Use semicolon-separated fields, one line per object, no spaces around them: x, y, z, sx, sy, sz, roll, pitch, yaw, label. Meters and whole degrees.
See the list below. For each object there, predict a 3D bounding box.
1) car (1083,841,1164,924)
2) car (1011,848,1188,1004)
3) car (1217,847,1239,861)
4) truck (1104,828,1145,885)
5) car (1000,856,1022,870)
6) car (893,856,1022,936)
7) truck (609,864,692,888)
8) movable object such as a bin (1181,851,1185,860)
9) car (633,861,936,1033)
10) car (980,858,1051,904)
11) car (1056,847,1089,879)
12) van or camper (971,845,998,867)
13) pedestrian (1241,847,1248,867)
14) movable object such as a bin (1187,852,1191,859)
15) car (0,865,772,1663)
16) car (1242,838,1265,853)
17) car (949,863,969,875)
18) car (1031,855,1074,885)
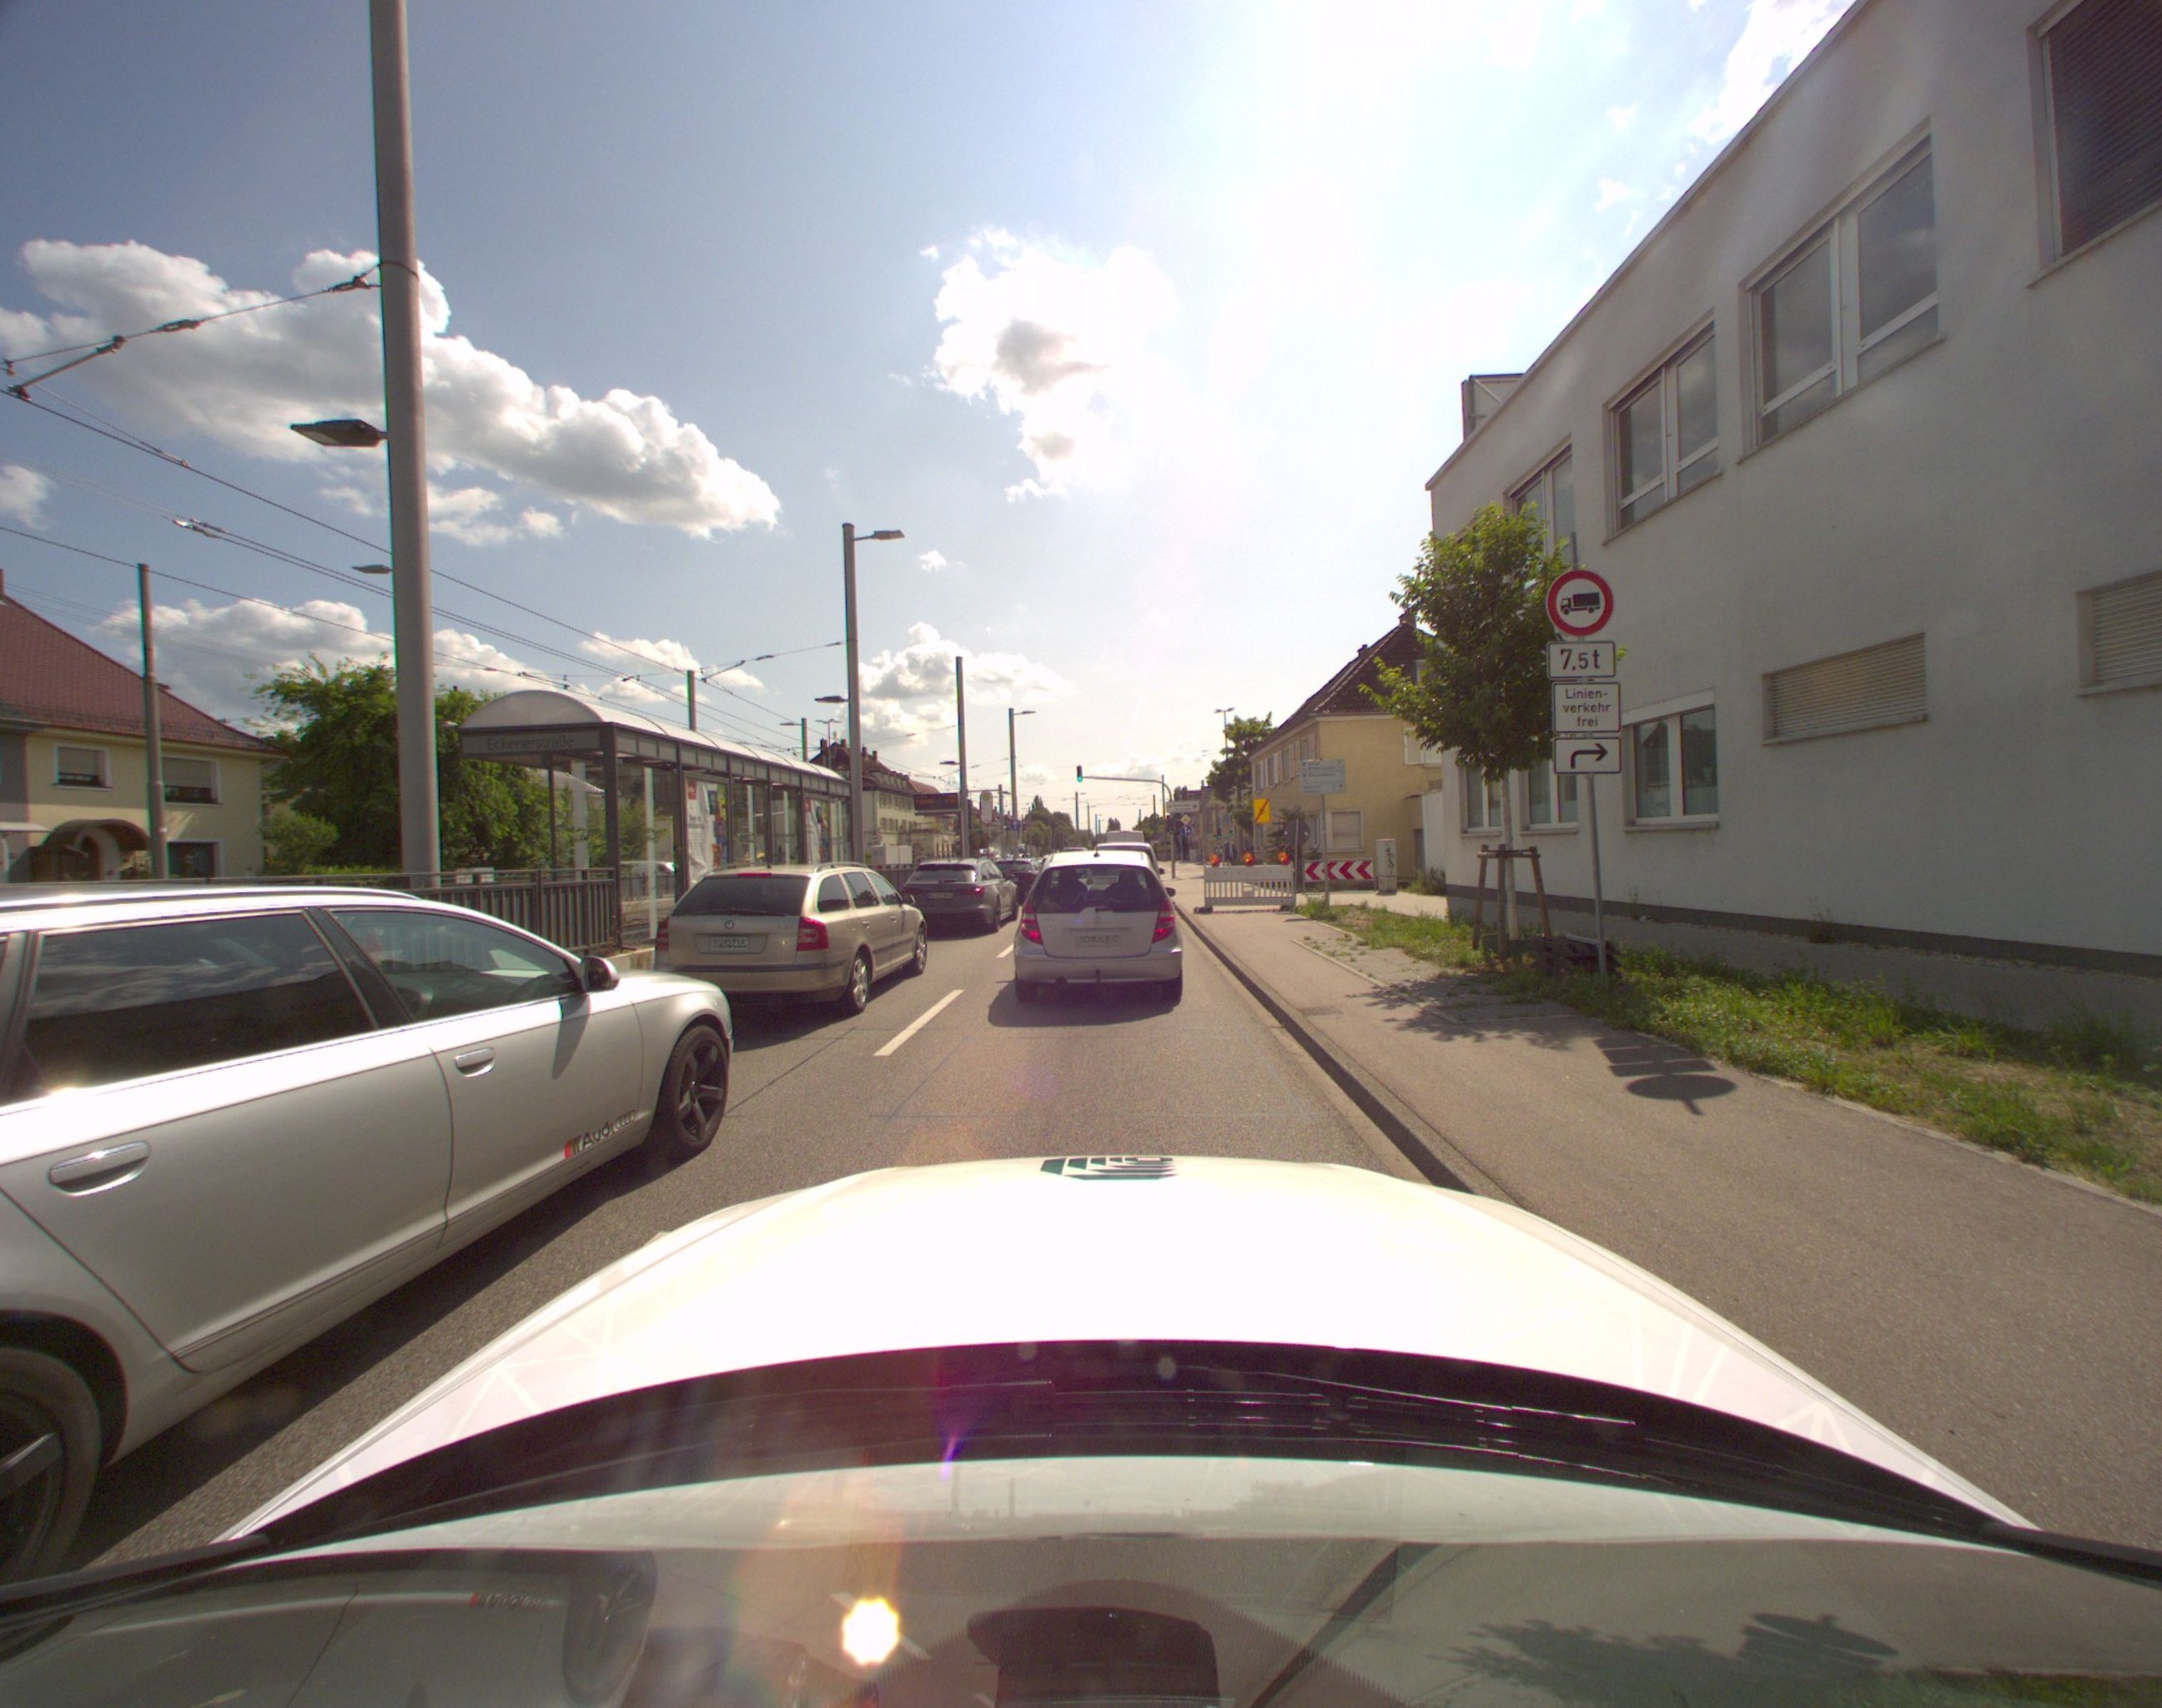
0.944;0.629;19.382;1.724;1.762;4.017;0;-1;1;car
0.224;0.724;10.016;1.724;1.517;4.017;0;-1;1;car
16.398;0.014;90.803;1.985;1.596;4.135;0;-1;4;car
2.078;0.147;39.866;1.845;2.552;5.857;0;-1;2;truck
-9.693;1.268;113.022;1.984;1.776;4.886;-4;0;6;car
-2.464;0.786;17.435;1.909;1.477;4.564;0;0;2;car
-35.983;1.803;68.122;6.154;1.922;1.692;0;-1;5;truck
12.771;0.175;101.873;0.509;1.105;0.856;-1;-1;4;movable object such as a bin
-2.897;0.814;9.004;1.724;1.449;4.124;0;-1;2;car
-2.078;0.831;27.042;1.845;1.388;4.516;0;0;2;car
-0.506;0.545;50.418;1.845;1.843;3.920;0;-1;2;car
-13.985;0.317;118.332;2.314;2.929;7.762;-3;0;4;van or camper
13.519;0.249;67.360;0.543;1.643;0.402;-1;-1;8;pedestrian
14.183;0.166;107.343;0.466;0.946;0.558;-2;-1;3;movable object such as a bin
-2.886;0.794;2.705;1.788;1.472;4.723;0;0;2;car
19.213;-0.890;90.862;1.985;1.596;4.135;0;-1;4;car
-15.123;1.845;101.118;1.678;1.351;4.345;0;0;1;car
-1.354;0.758;40.434;1.845;1.388;3.920;0;-1;2;car
